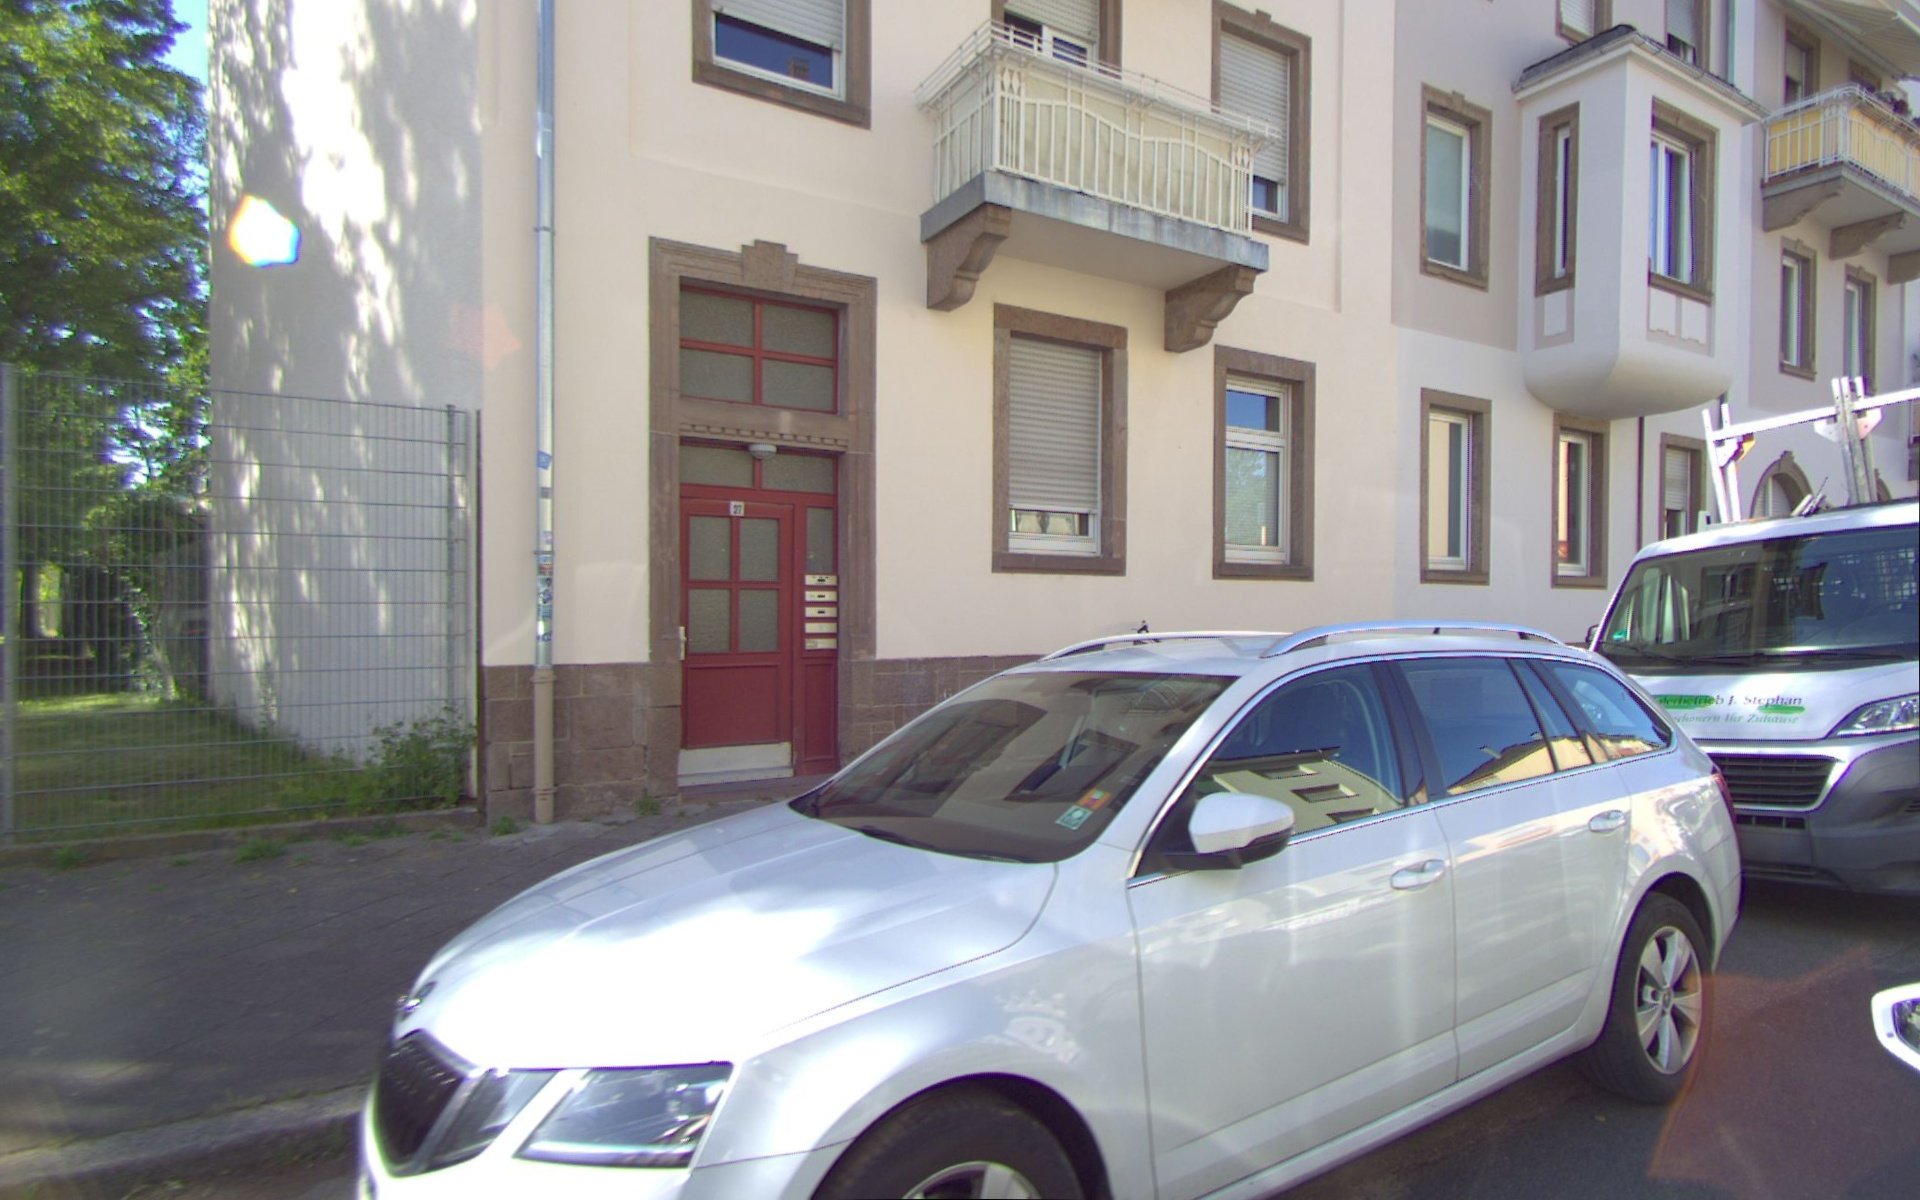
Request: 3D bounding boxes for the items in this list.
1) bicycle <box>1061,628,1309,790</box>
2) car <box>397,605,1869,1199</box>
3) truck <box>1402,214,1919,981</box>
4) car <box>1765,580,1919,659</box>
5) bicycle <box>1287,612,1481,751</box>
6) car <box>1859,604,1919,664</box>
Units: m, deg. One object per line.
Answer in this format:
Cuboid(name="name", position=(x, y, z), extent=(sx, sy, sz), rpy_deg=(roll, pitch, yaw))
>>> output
Cuboid(name="bicycle", position=(2.010, 0.885, 8.807), extent=(2.313, 1.220, 0.626), rpy_deg=(0, 2, -30))
Cuboid(name="car", position=(0.875, 0.865, 3.206), extent=(4.590, 1.561, 1.783), rpy_deg=(0, -4, -32))
Cuboid(name="truck", position=(6.302, 0.147, 6.729), extent=(7.193, 3.023, 2.249), rpy_deg=(1, -6, -32))
Cuboid(name="car", position=(20.826, 0.427, 22.358), extent=(4.415, 1.637, 1.768), rpy_deg=(2, 2, 43))
Cuboid(name="bicycle", position=(4.427, 0.789, 10.407), extent=(2.313, 1.296, 0.566), rpy_deg=(0, 2, -30))
Cuboid(name="car", position=(25.651, 0.917, 25.675), extent=(3.936, 1.499, 1.585), rpy_deg=(2, 2, 43))
